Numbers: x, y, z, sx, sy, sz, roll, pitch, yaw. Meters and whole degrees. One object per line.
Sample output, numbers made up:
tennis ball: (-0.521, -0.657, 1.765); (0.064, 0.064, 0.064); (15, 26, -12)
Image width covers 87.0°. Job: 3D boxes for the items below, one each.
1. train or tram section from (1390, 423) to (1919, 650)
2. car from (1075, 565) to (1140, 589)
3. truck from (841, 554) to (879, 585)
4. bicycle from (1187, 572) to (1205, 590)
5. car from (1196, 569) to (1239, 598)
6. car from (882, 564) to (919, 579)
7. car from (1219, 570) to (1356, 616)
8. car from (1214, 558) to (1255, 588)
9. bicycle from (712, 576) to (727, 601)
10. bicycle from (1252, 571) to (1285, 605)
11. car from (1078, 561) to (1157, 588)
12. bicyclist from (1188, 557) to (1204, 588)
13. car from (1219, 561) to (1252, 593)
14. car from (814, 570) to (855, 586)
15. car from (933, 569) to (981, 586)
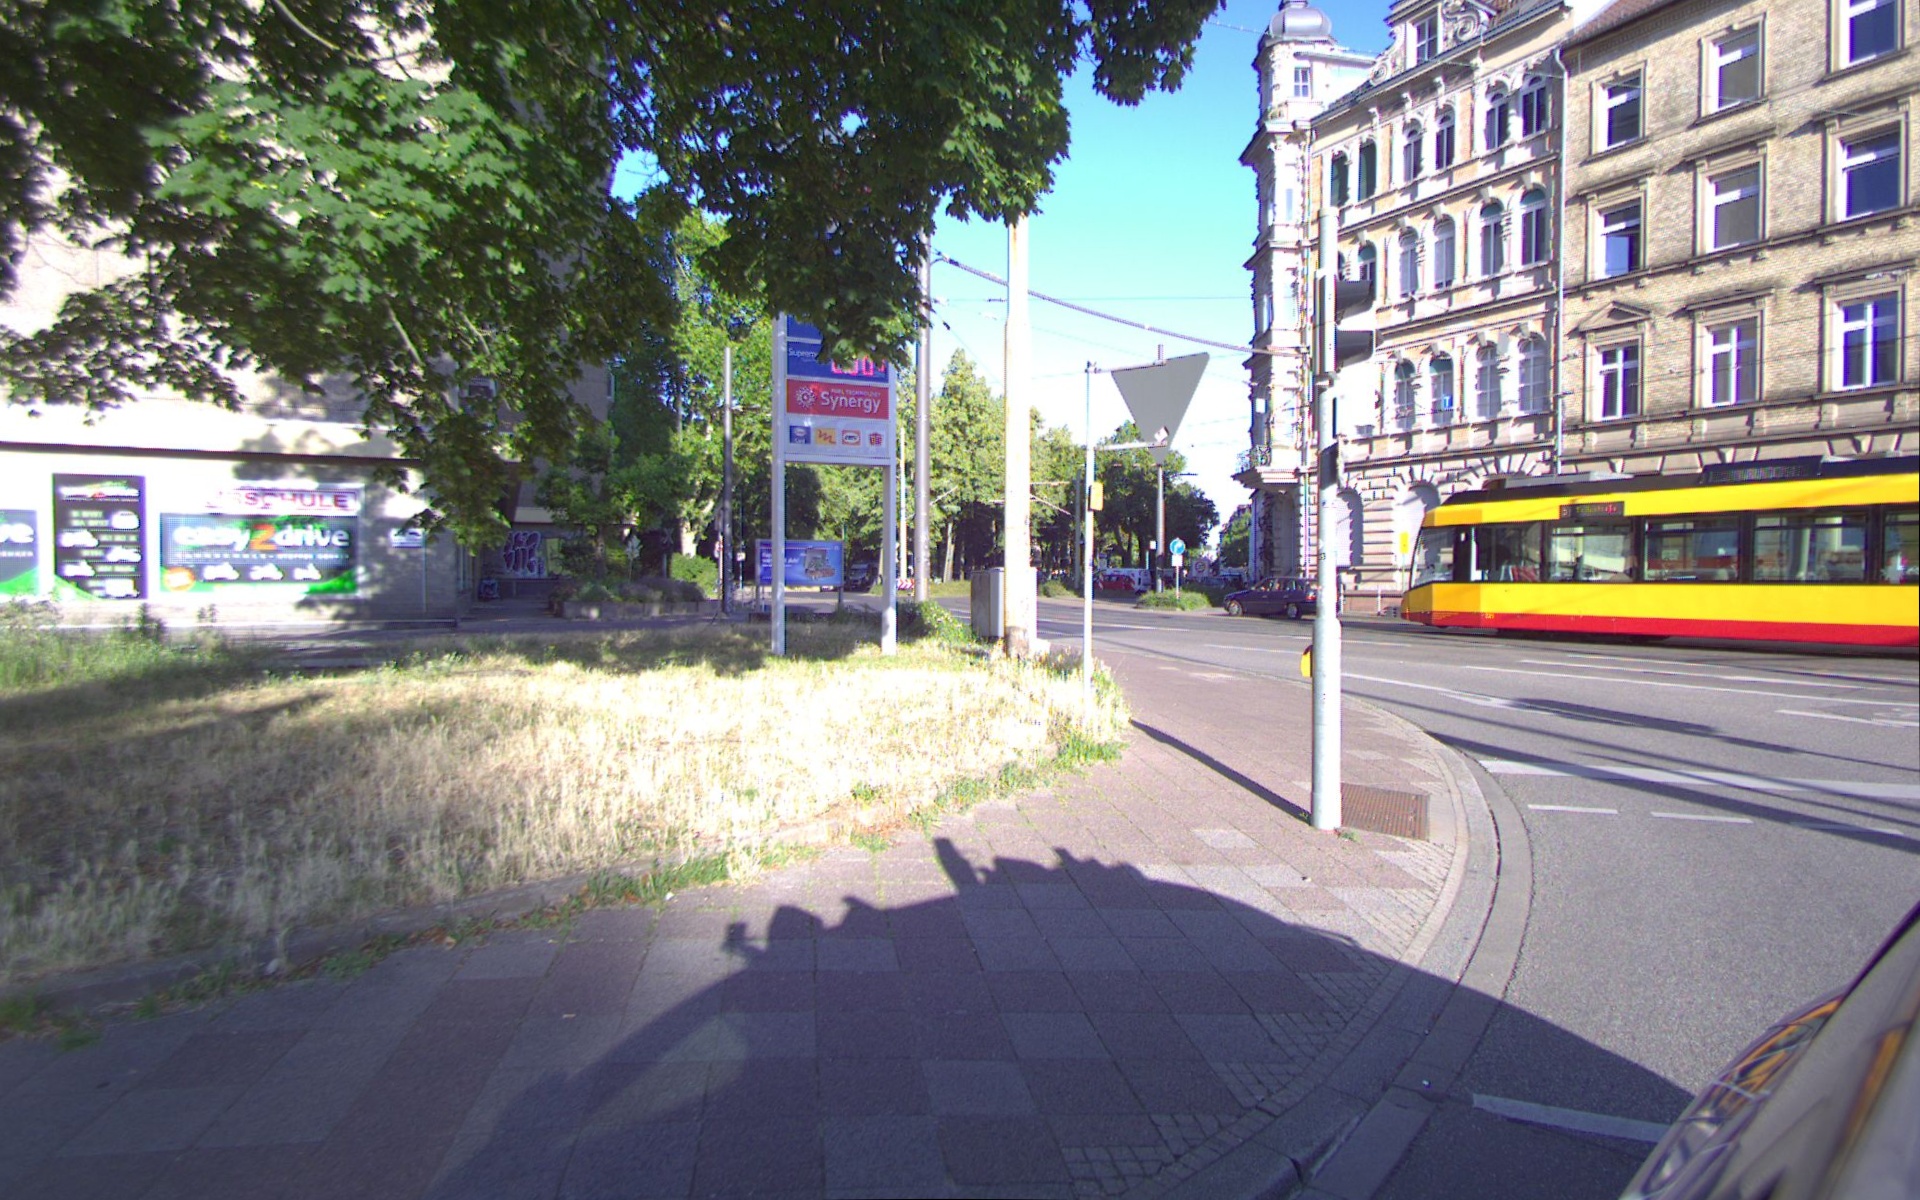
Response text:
train or tram section: (14.726, -1.080, 19.190); (2.813, 3.551, 13.030); (-1, 2, -30)
car: (9.872, -1.563, 67.851); (3.975, 1.526, 1.845); (1, 2, 36)
truck: (-9.128, -2.791, 93.045); (1.971, 2.817, 4.864); (0, 1, 14)
bicycle: (14.348, -1.156, 61.542); (0.720, 1.097, 2.100); (0, 1, 23)
car: (13.498, -0.884, 52.870); (1.718, 1.432, 3.409); (1, 2, 22)
car: (-7.254, -3.528, 123.839); (4.424, 1.771, 1.971); (1, 2, 41)
car: (10.589, -0.274, 33.043); (1.778, 1.397, 4.168); (-1, 2, -29)
car: (15.538, -1.529, 57.167); (1.718, 1.682, 3.971); (1, 2, 22)
bicycle: (-11.375, -0.566, 47.944); (0.597, 1.148, 2.285); (0, 2, -11)
bicycle: (12.059, -0.507, 39.495); (0.640, 1.282, 2.659); (1, 2, 31)
car: (10.852, -1.780, 69.865); (5.027, 1.810, 1.975); (1, 2, 36)
bicyclist: (14.355, -1.689, 61.594); (0.722, 1.863, 1.203); (0, 0, 24)
car: (18.408, -1.554, 67.478); (1.973, 2.038, 4.611); (0, 2, 17)
car: (-10.896, -1.928, 87.856); (1.927, 1.415, 3.973); (1, 2, 21)
car: (-0.247, -1.893, 83.047); (3.658, 1.370, 1.723); (1, 2, 31)
